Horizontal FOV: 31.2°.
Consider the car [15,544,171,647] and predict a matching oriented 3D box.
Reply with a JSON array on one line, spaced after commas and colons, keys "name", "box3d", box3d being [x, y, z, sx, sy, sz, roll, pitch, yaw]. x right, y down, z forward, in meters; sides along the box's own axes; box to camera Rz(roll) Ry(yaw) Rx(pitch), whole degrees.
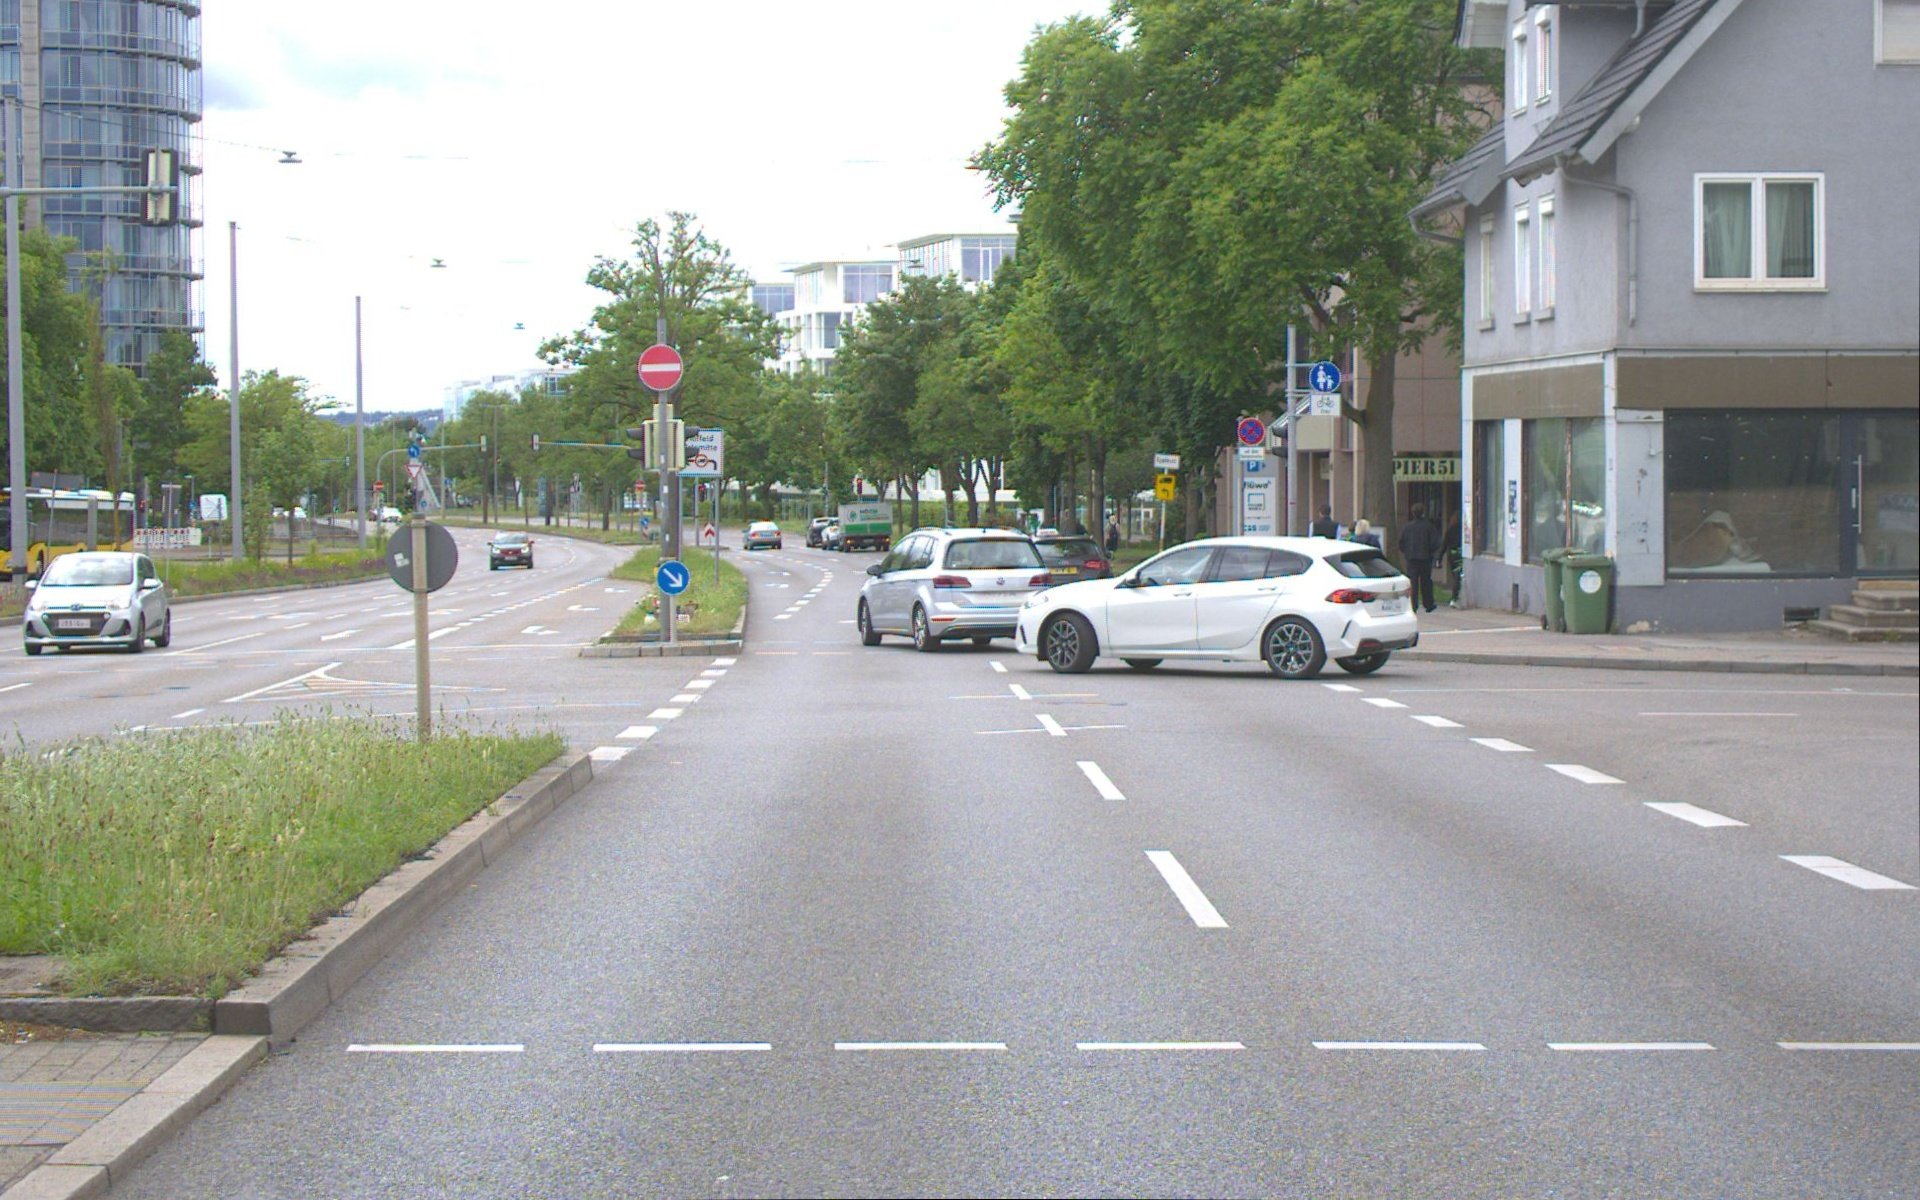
[{"name": "car", "box3d": [-12.806, -0.092, 50.932, 1.684, 1.457, 3.556, -1, 1, -5]}]

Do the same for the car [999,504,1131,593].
[{"name": "car", "box3d": [1.828, -0.895, 61.026, 1.889, 1.489, 4.099, -1, 1, -4]}]

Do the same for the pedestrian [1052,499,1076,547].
[{"name": "pedestrian", "box3d": [4.421, -3.283, 146.071, 0.971, 2.007, 0.981, 1, 0, -1]}]

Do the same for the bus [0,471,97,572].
[{"name": "bus", "box3d": [-31.396, -2.566, 114.473, 3.144, 3.214, 10.286, -1, 1, -3]}]

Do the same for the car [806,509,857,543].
[{"name": "car", "box3d": [-6.505, -3.736, 173.867, 2.250, 1.641, 4.934, -1, 1, -5]}]

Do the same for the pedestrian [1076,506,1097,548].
[{"name": "pedestrian", "box3d": [4.737, -2.740, 128.497, 0.650, 1.564, 0.671, -1, 1, -8]}]

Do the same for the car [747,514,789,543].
[{"name": "car", "box3d": [-9.690, -3.590, 173.159, 1.967, 1.415, 4.023, -1, 1, -5]}]

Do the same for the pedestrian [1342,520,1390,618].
[{"name": "pedestrian", "box3d": [6.364, -0.490, 53.910, 0.705, 1.502, 0.870, -1, 1, 5]}]

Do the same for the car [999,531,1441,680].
[{"name": "car", "box3d": [2.764, 0.022, 36.709, 4.249, 1.472, 1.997, 1, 1, 30]}]

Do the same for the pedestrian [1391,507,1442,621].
[{"name": "pedestrian", "box3d": [7.082, -0.566, 53.361, 0.705, 1.754, 1.052, -1, 1, 5]}]

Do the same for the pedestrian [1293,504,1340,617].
[{"name": "pedestrian", "box3d": [5.643, -0.627, 54.424, 0.705, 1.773, 0.870, -1, 1, 5]}]

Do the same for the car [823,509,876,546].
[{"name": "car", "box3d": [-5.309, -3.472, 165.073, 2.251, 1.751, 4.934, -1, 1, -5]}]

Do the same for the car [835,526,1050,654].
[{"name": "car", "box3d": [-0.282, -0.165, 44.767, 1.822, 1.535, 4.116, 1, 1, -14]}]

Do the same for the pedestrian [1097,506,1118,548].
[{"name": "pedestrian", "box3d": [5.518, -2.731, 128.581, 0.650, 1.564, 0.671, -1, 1, -8]}]

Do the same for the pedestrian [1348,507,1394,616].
[{"name": "pedestrian", "box3d": [6.803, -0.640, 56.941, 0.705, 1.773, 0.870, -1, 1, 5]}]

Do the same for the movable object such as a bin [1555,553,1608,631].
[{"name": "movable object such as a bin", "box3d": [7.958, -0.106, 44.056, 0.529, 0.976, 0.736, -1, 1, -1]}]

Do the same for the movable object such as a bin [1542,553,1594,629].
[{"name": "movable object such as a bin", "box3d": [7.930, -0.122, 44.846, 0.529, 0.976, 0.736, -1, 1, -1]}]

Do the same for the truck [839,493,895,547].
[{"name": "truck", "box3d": [-4.264, -3.640, 156.476, 2.251, 2.408, 4.934, 0, 1, -5]}]

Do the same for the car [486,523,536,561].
[{"name": "car", "box3d": [-18.171, -2.346, 139.245, 1.702, 1.487, 3.562, -1, 1, -2]}]

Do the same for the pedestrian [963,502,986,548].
[{"name": "pedestrian", "box3d": [0.735, -3.807, 174.492, 0.930, 2.300, 1.011, 1, 0, -10]}]

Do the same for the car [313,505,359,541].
[{"name": "car", "box3d": [-36.332, -4.455, 200.270, 1.965, 2.007, 4.000, 1, 1, -1]}]

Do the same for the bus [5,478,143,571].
[{"name": "bus", "box3d": [-31.735, -2.706, 123.477, 3.144, 3.214, 7.766, -1, 1, -2]}]
